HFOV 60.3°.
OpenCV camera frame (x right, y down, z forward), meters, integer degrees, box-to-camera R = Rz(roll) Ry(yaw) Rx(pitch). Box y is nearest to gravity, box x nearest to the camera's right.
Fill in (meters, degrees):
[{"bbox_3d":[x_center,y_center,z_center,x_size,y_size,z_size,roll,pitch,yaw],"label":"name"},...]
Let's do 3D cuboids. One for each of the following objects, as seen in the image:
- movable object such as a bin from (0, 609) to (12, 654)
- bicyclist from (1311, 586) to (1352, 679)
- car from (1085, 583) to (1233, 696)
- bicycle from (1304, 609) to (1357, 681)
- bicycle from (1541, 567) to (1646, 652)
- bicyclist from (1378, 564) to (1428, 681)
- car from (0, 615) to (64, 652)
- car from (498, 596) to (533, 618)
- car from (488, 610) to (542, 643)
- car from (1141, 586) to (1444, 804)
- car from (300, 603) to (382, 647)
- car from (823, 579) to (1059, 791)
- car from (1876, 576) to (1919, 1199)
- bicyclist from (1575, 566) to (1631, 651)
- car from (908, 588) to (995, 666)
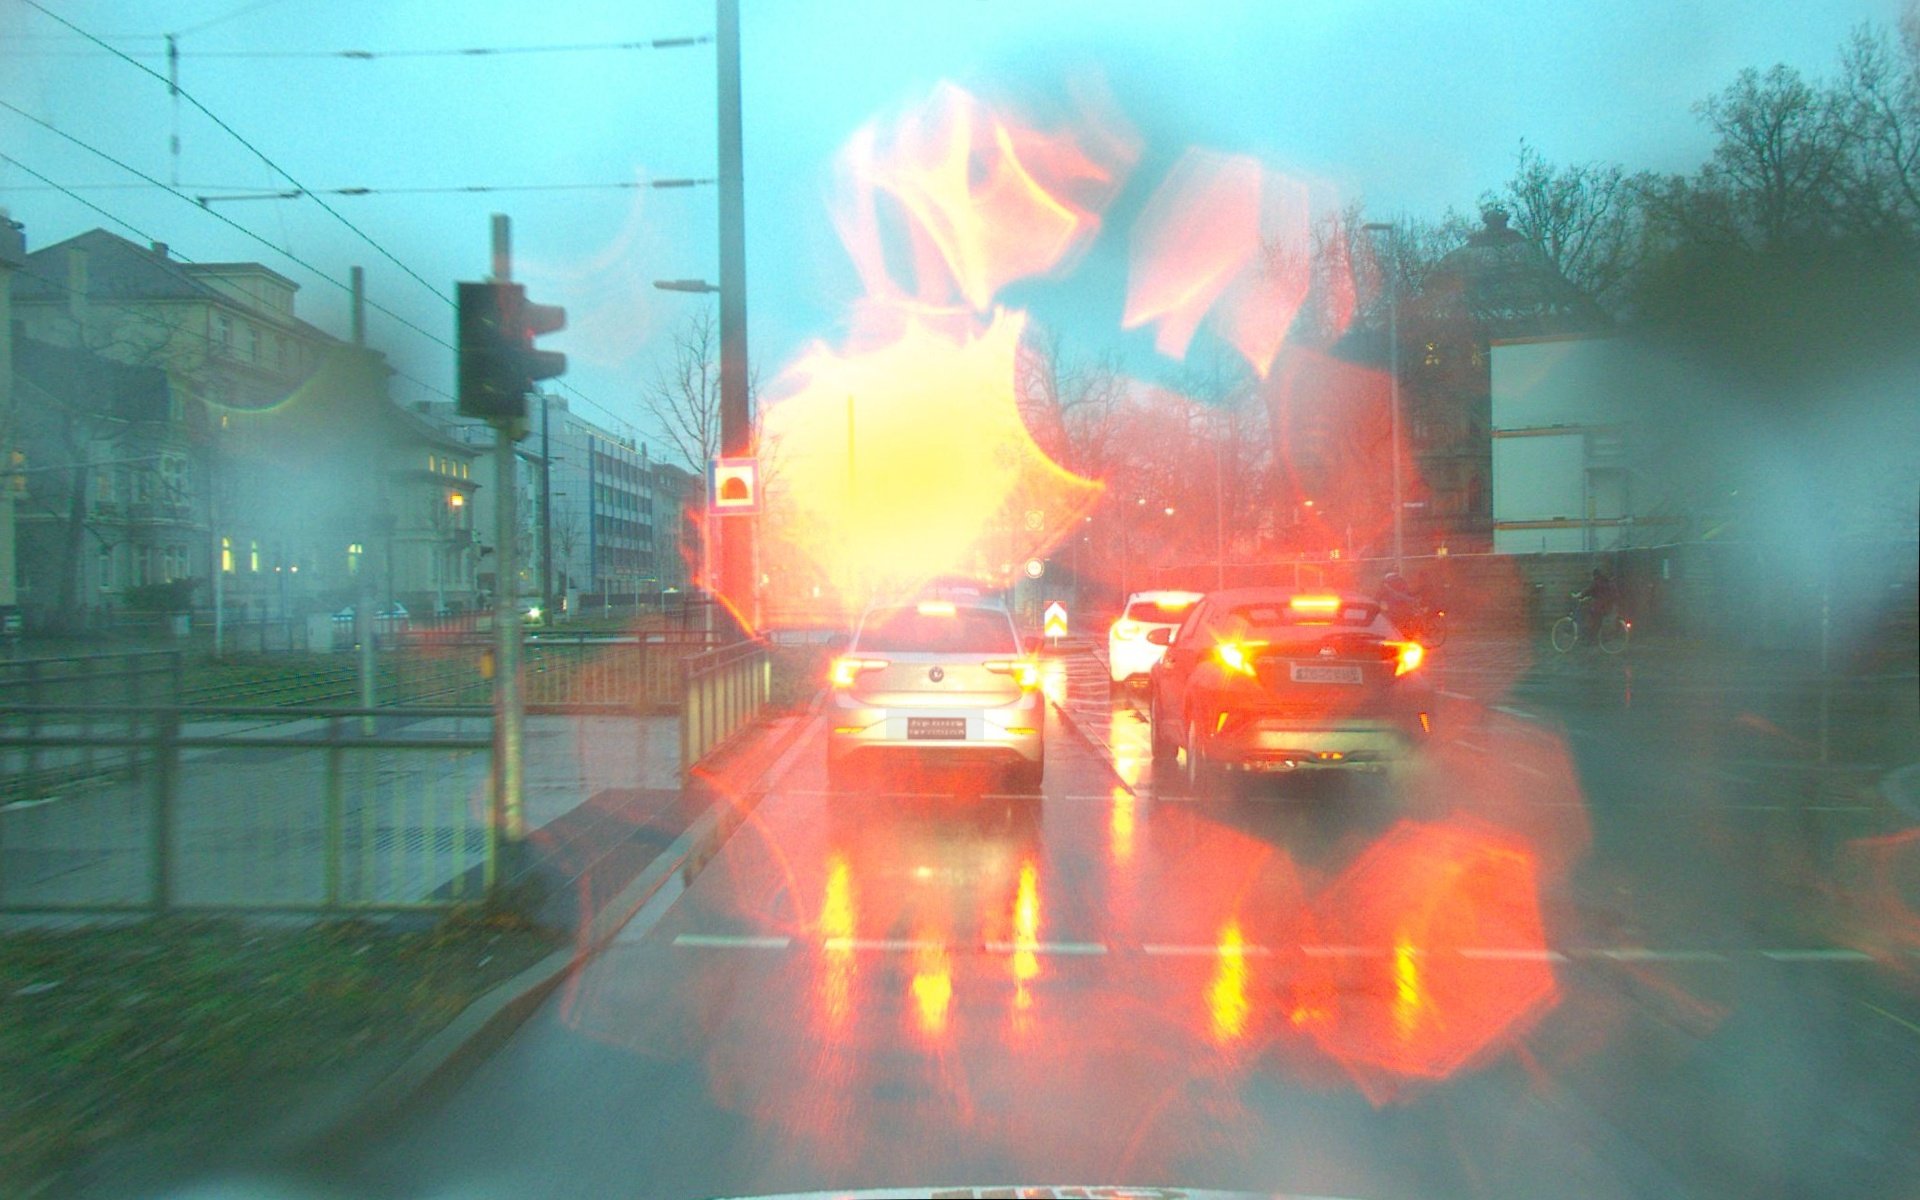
[{"bbox_3d":[-34.818,1.147,59.083,1.086,1.588,1.424,-2,1,-4],"label":"movable object such as a bin"},{"bbox_3d":[6.631,0.564,29.540,0.490,1.619,0.837,-1,0,-3],"label":"bicyclist"},{"bbox_3d":[2.846,0.545,24.380,1.687,1.505,4.000,1,0,0],"label":"car"},{"bbox_3d":[6.620,0.783,29.600,0.403,1.206,1.947,-1,1,-3],"label":"bicycle"},{"bbox_3d":[13.020,0.187,34.060,0.678,1.686,2.233,1,0,-21],"label":"bicycle"},{"bbox_3d":[6.941,0.345,25.948,0.490,1.798,0.837,-1,0,-3],"label":"bicyclist"},{"bbox_3d":[-38.252,1.332,66.020,3.907,1.431,1.832,0,0,-3],"label":"car"},{"bbox_3d":[-33.162,0.508,123.466,1.770,1.461,3.925,-2,1,-3],"label":"car"},{"bbox_3d":[-22.679,1.314,84.455,1.765,1.613,3.999,1,0,-2],"label":"car"},{"bbox_3d":[2.558,0.674,13.621,1.687,1.505,4.000,1,0,0],"label":"car"},{"bbox_3d":[-23.958,0.941,64.142,1.765,1.613,3.999,1,0,-2],"label":"car"},{"bbox_3d":[-0.127,0.625,13.992,1.687,1.505,4.000,1,0,0],"label":"car"},{"bbox_3d":[3.010,0.718,1.284,1.751,1.528,4.965,1,0,-1],"label":"car"},{"bbox_3d":[13.107,0.169,33.741,0.685,1.708,0.813,-1,0,-21],"label":"bicyclist"},{"bbox_3d":[-0.154,0.536,34.488,1.687,1.505,4.000,1,0,0],"label":"car"}]
